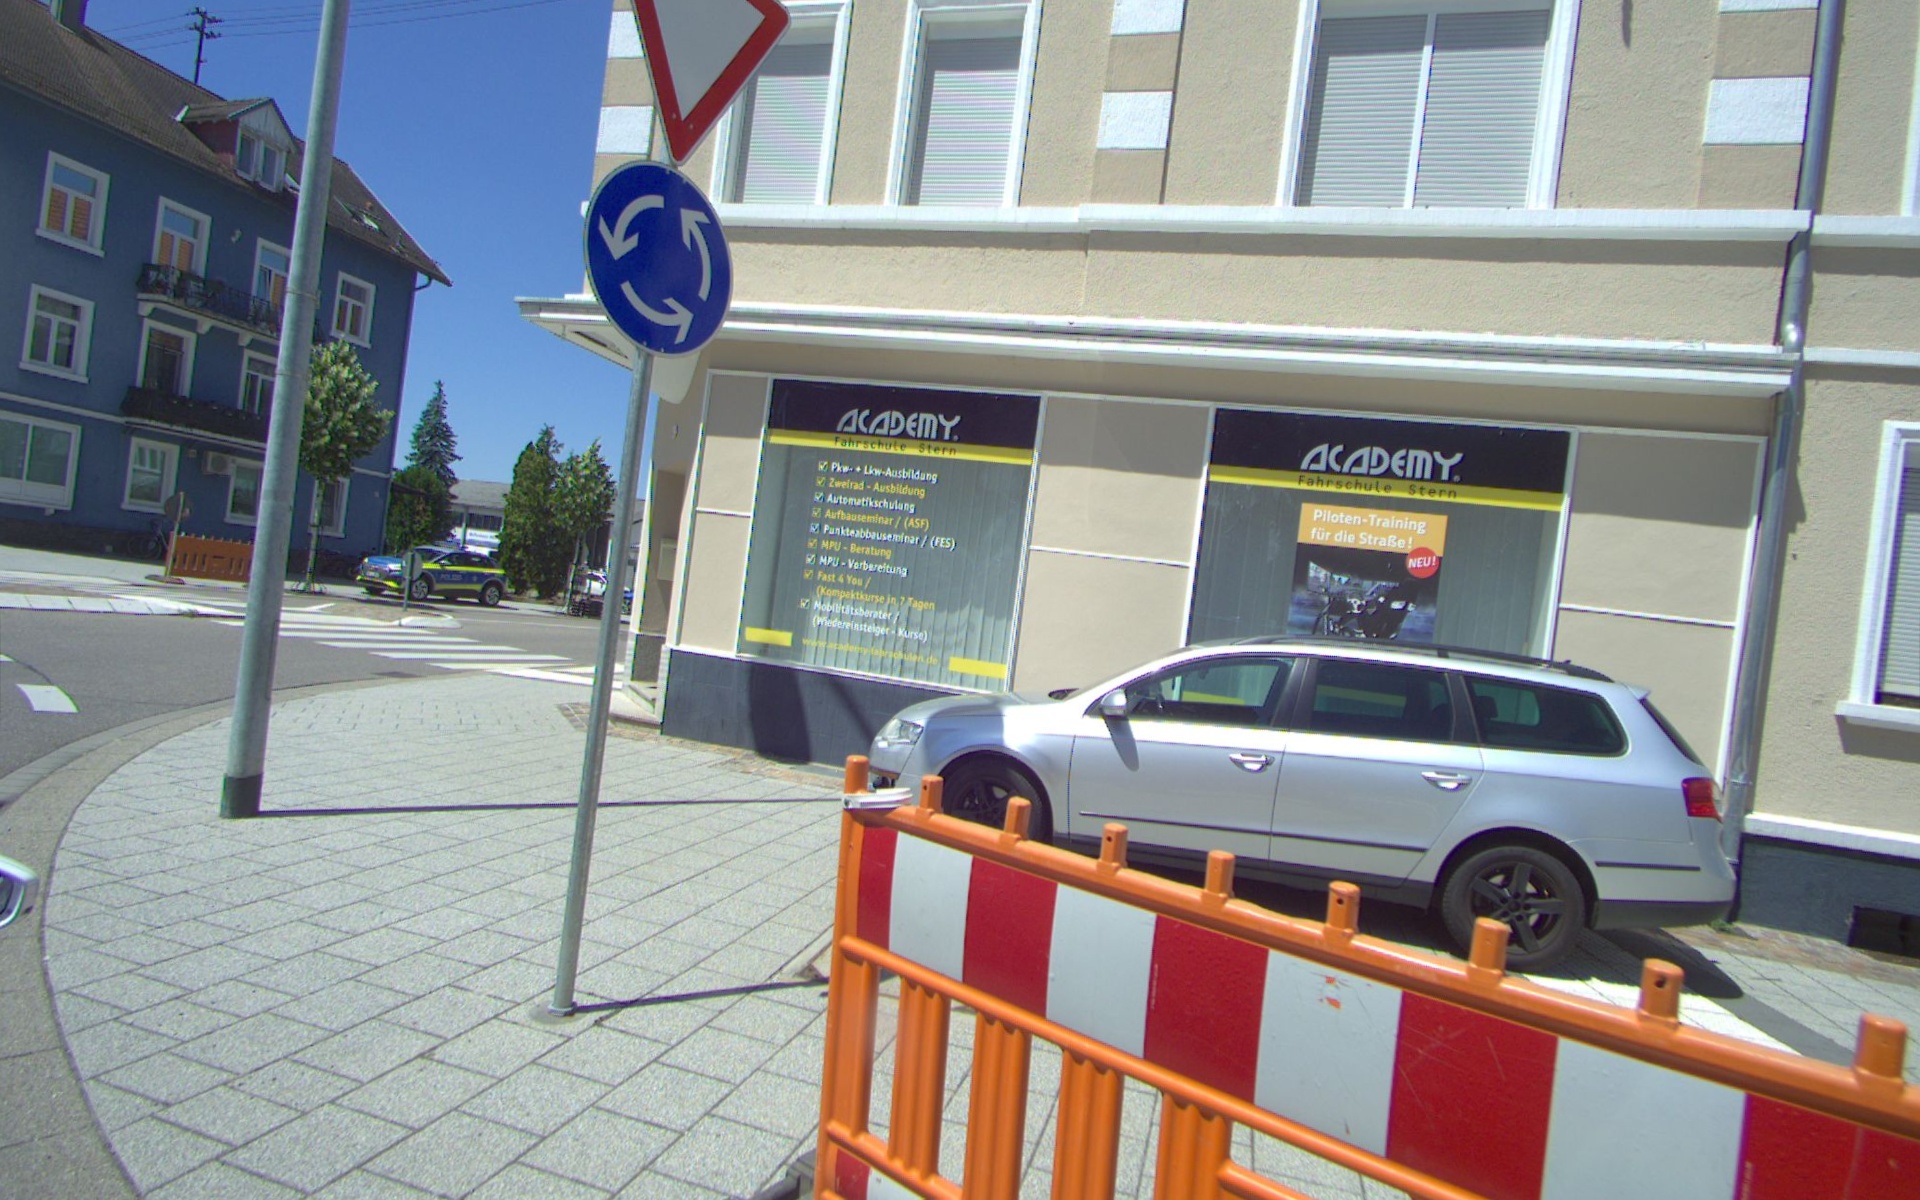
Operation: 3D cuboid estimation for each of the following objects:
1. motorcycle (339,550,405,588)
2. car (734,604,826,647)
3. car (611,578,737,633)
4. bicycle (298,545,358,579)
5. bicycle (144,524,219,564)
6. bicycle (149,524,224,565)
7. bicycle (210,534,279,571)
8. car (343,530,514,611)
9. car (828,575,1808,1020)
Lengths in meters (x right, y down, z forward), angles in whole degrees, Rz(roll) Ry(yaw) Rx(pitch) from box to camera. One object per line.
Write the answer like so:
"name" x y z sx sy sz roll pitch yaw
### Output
"motorcycle" -20.390 -1.057 34.928 0.577 1.064 1.907 9 -1 22
"car" -9.053 1.298 50.763 3.925 1.548 2.002 7 -1 18
"car" -11.572 0.232 40.815 4.384 1.495 1.911 7 -4 15
"bicycle" -21.592 -1.294 34.405 0.472 0.917 1.714 9 -1 19
"bicycle" -23.112 -1.649 29.910 0.432 0.917 1.714 9 -1 19
"bicycle" -22.739 -1.617 29.603 0.432 0.917 1.714 9 -1 19
"bicycle" -22.414 -1.471 31.561 0.472 0.917 1.714 9 -1 19
"car" -15.778 -0.818 30.147 1.871 1.763 4.253 8 -1 19
"car" 1.760 0.914 6.005 4.601 1.549 1.770 7 0 15
